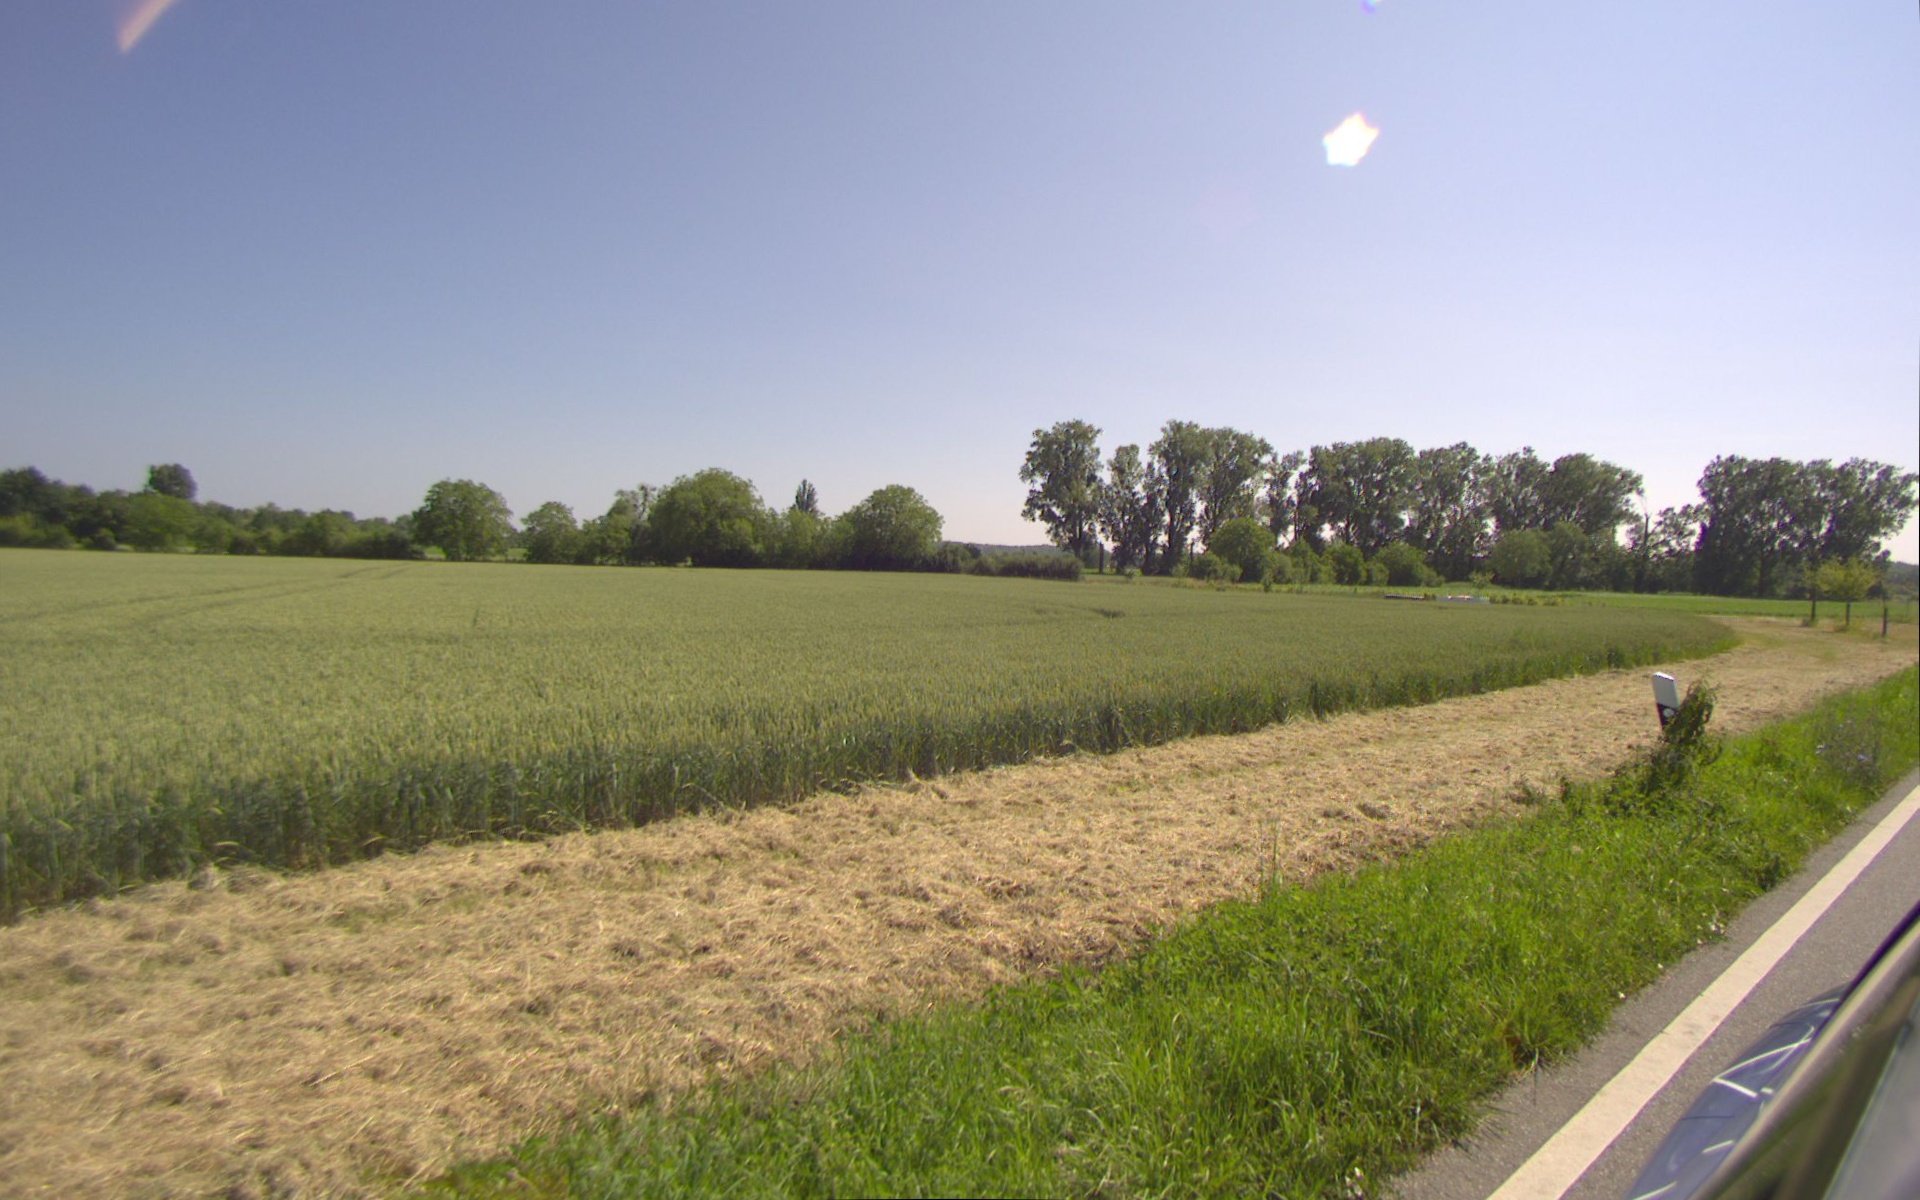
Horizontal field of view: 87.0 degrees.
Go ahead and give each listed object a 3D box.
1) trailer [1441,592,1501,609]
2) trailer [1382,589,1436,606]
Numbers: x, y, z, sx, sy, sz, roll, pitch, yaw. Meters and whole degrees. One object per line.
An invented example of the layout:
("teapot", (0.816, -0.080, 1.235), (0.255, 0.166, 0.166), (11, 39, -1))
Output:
("trailer", (36.886, 0.025, 73.169), (1.630, 1.204, 3.602), (0, 1, -28))
("trailer", (34.455, -0.222, 77.739), (1.630, 1.204, 3.554), (0, 1, -28))
